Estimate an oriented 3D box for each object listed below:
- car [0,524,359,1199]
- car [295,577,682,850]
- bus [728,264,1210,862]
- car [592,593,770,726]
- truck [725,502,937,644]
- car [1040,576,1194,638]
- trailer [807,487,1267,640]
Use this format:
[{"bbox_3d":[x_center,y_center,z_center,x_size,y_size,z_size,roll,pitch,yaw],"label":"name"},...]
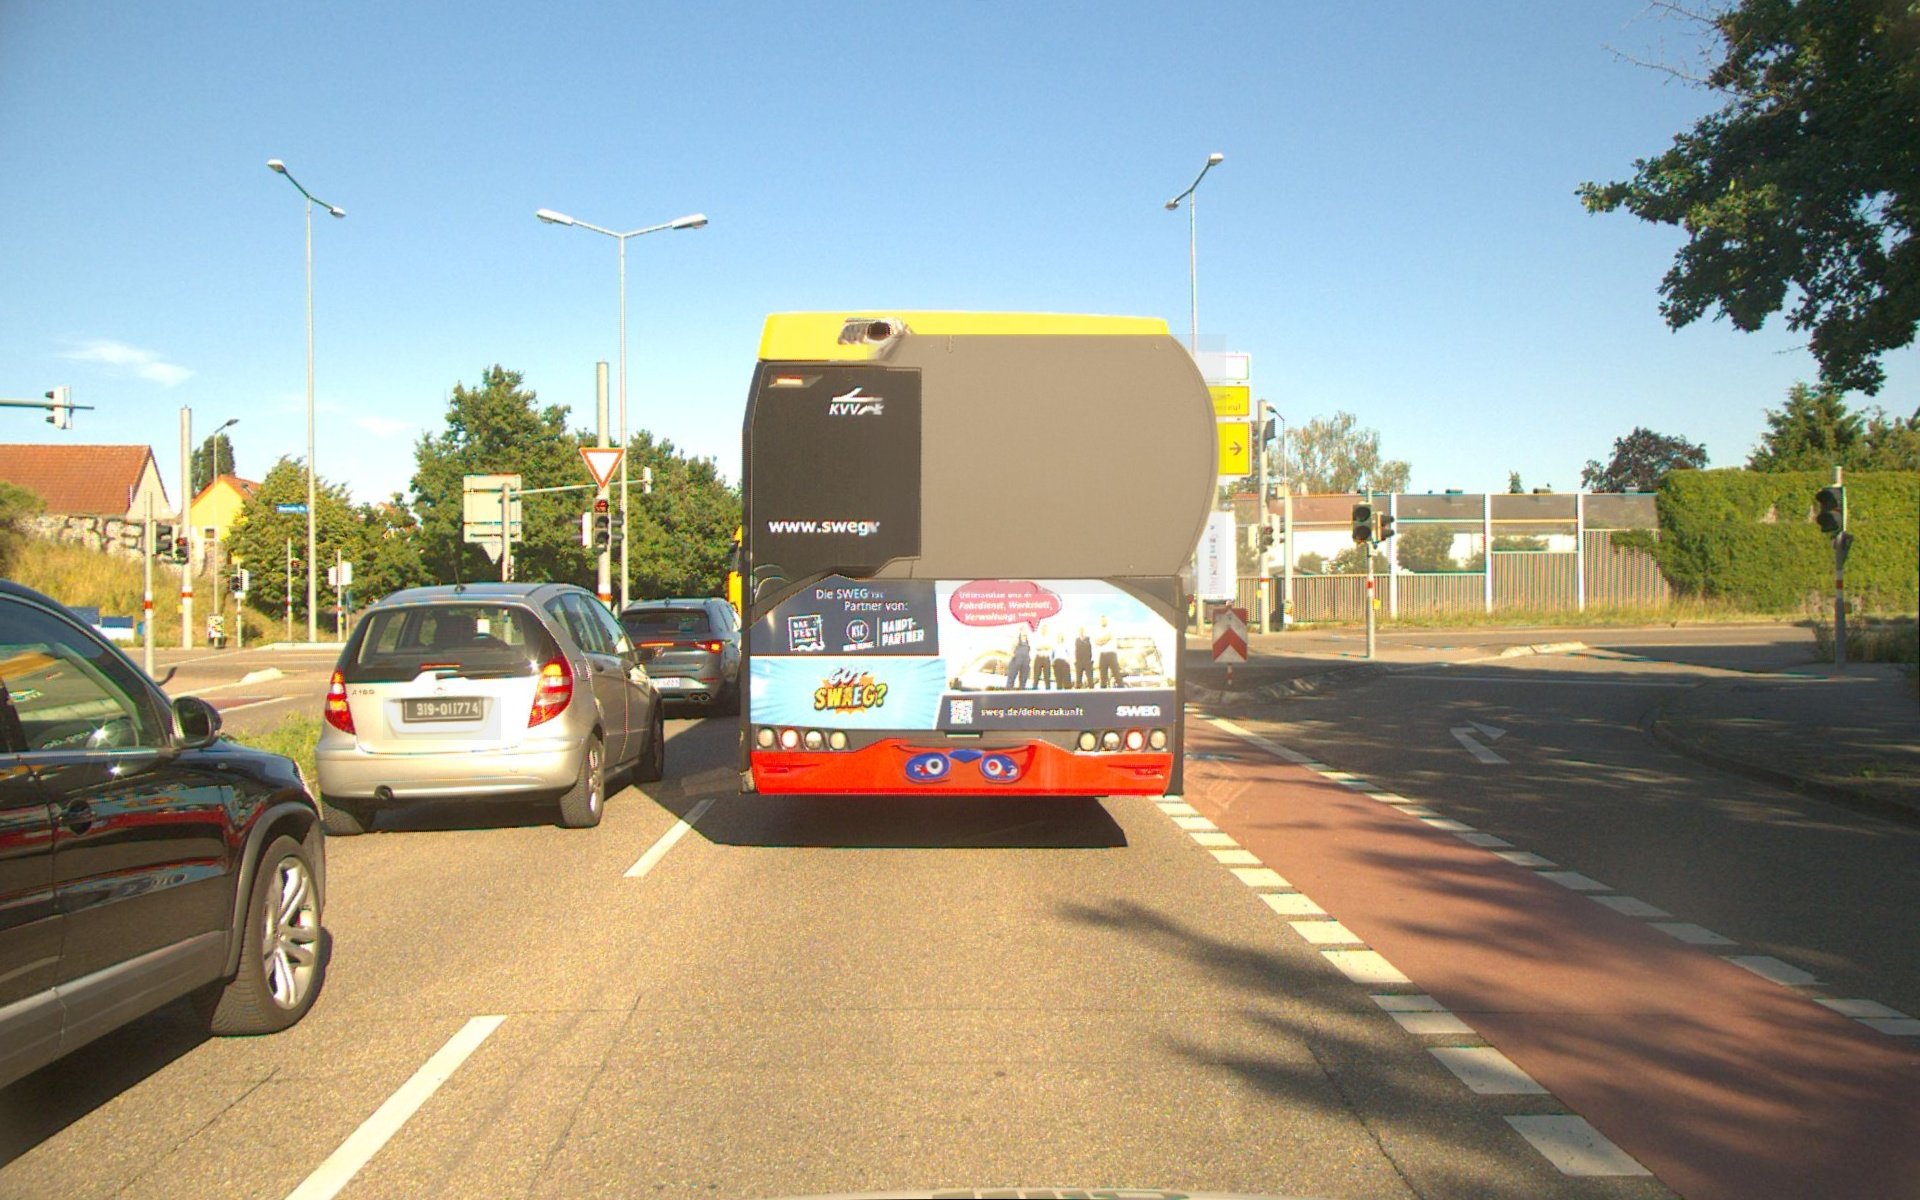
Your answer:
[{"bbox_3d":[-3.148,0.690,4.305,1.736,1.682,3.999,-2,0,-1],"label":"car"},{"bbox_3d":[-3.221,0.685,12.131,1.725,1.617,3.999,-2,0,-1],"label":"car"},{"bbox_3d":[0.017,-0.250,14.894,2.589,3.222,11.860,0,0,0],"label":"bus"},{"bbox_3d":[-3.453,0.679,21.060,1.658,1.484,3.750,-2,0,-1],"label":"car"},{"bbox_3d":[-4.183,-0.845,52.621,6.356,4.082,3.434,-3,0,-9],"label":"truck"},{"bbox_3d":[4.430,0.187,46.853,3.993,1.552,1.764,-2,0,-10],"label":"car"},{"bbox_3d":[2.403,-1.189,53.607,14.385,4.082,3.434,-3,0,-9],"label":"trailer"}]
